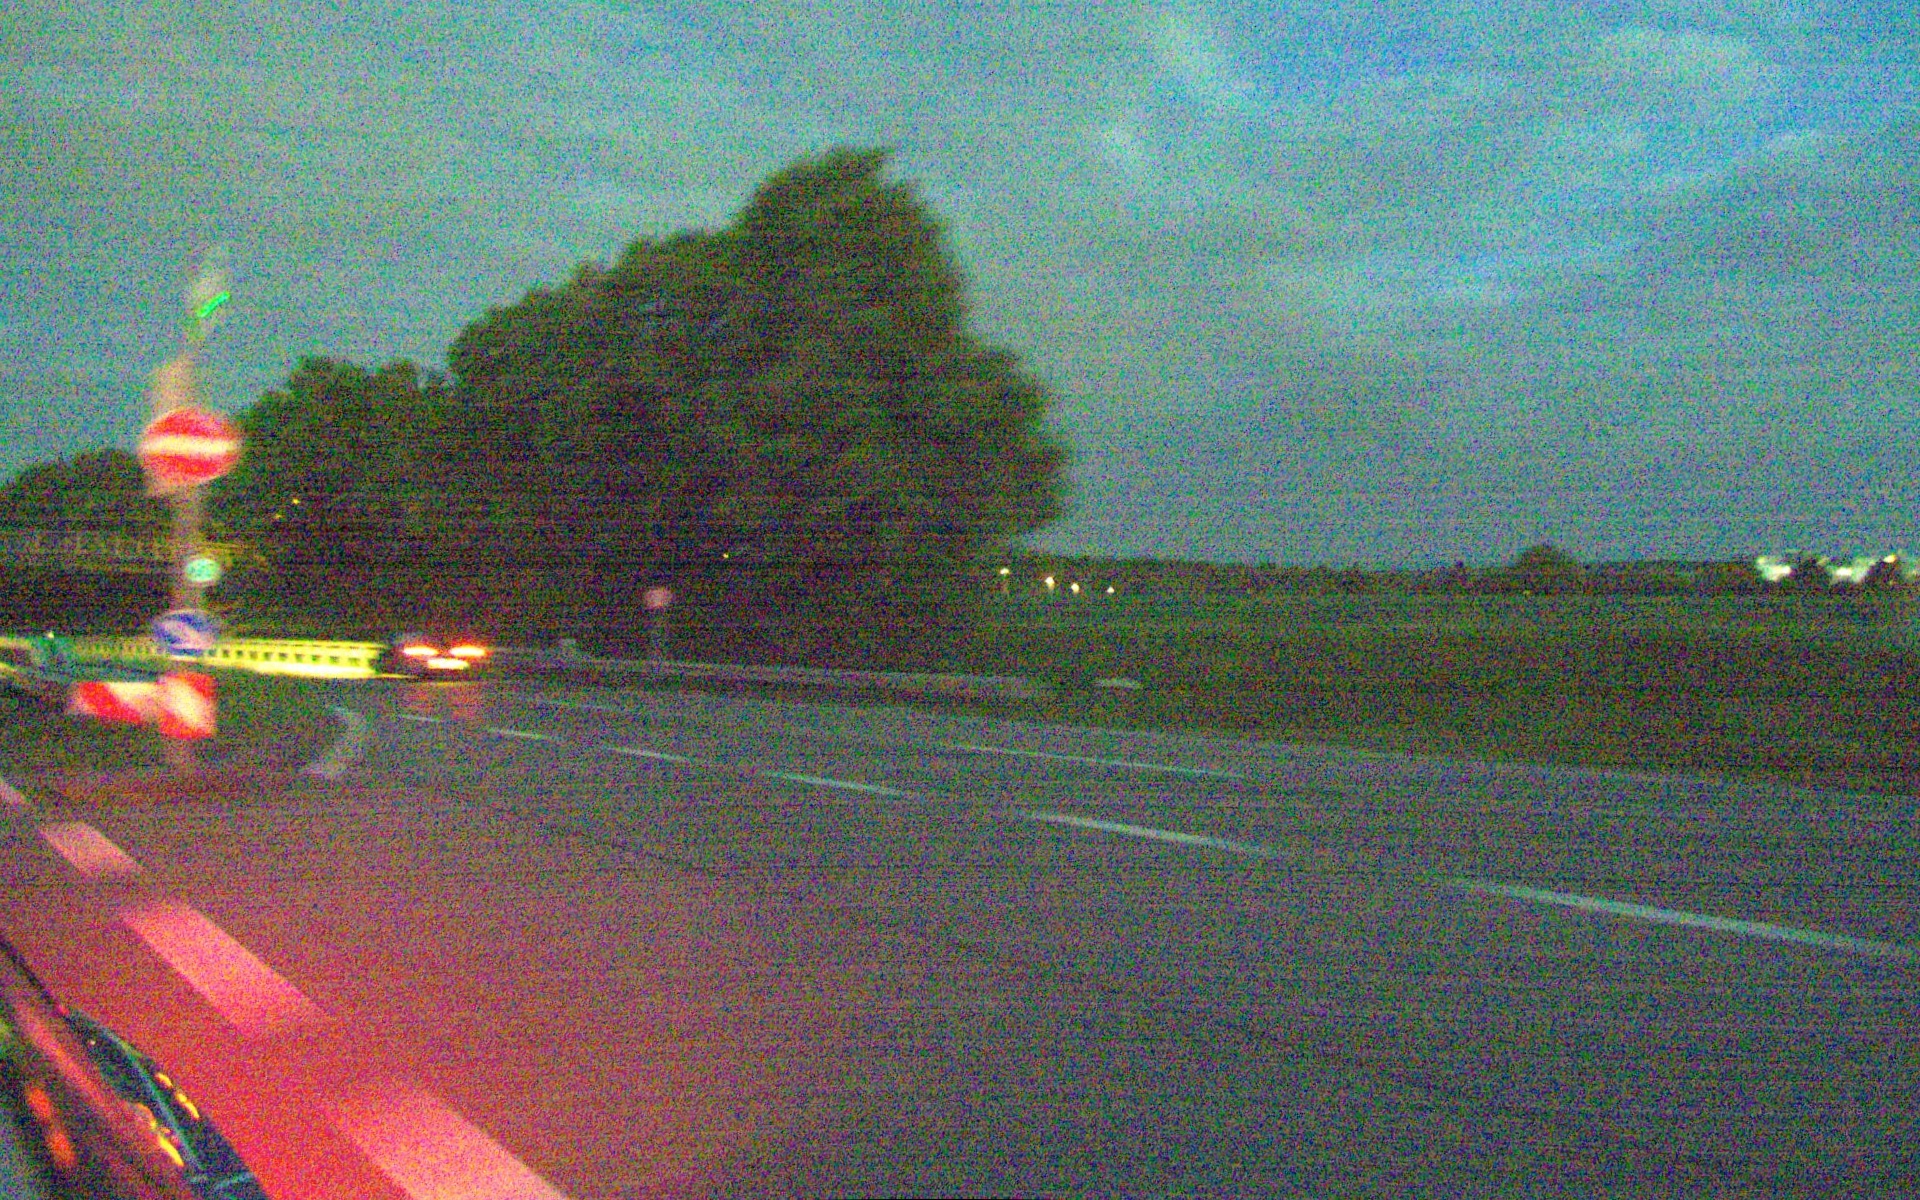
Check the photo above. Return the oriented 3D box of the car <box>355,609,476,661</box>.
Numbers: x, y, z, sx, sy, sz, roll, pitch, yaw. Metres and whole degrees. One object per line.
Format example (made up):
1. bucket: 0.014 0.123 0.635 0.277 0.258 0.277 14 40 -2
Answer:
1. car: -15.237 0.961 28.251 3.936 1.340 1.589 0 -3 40
